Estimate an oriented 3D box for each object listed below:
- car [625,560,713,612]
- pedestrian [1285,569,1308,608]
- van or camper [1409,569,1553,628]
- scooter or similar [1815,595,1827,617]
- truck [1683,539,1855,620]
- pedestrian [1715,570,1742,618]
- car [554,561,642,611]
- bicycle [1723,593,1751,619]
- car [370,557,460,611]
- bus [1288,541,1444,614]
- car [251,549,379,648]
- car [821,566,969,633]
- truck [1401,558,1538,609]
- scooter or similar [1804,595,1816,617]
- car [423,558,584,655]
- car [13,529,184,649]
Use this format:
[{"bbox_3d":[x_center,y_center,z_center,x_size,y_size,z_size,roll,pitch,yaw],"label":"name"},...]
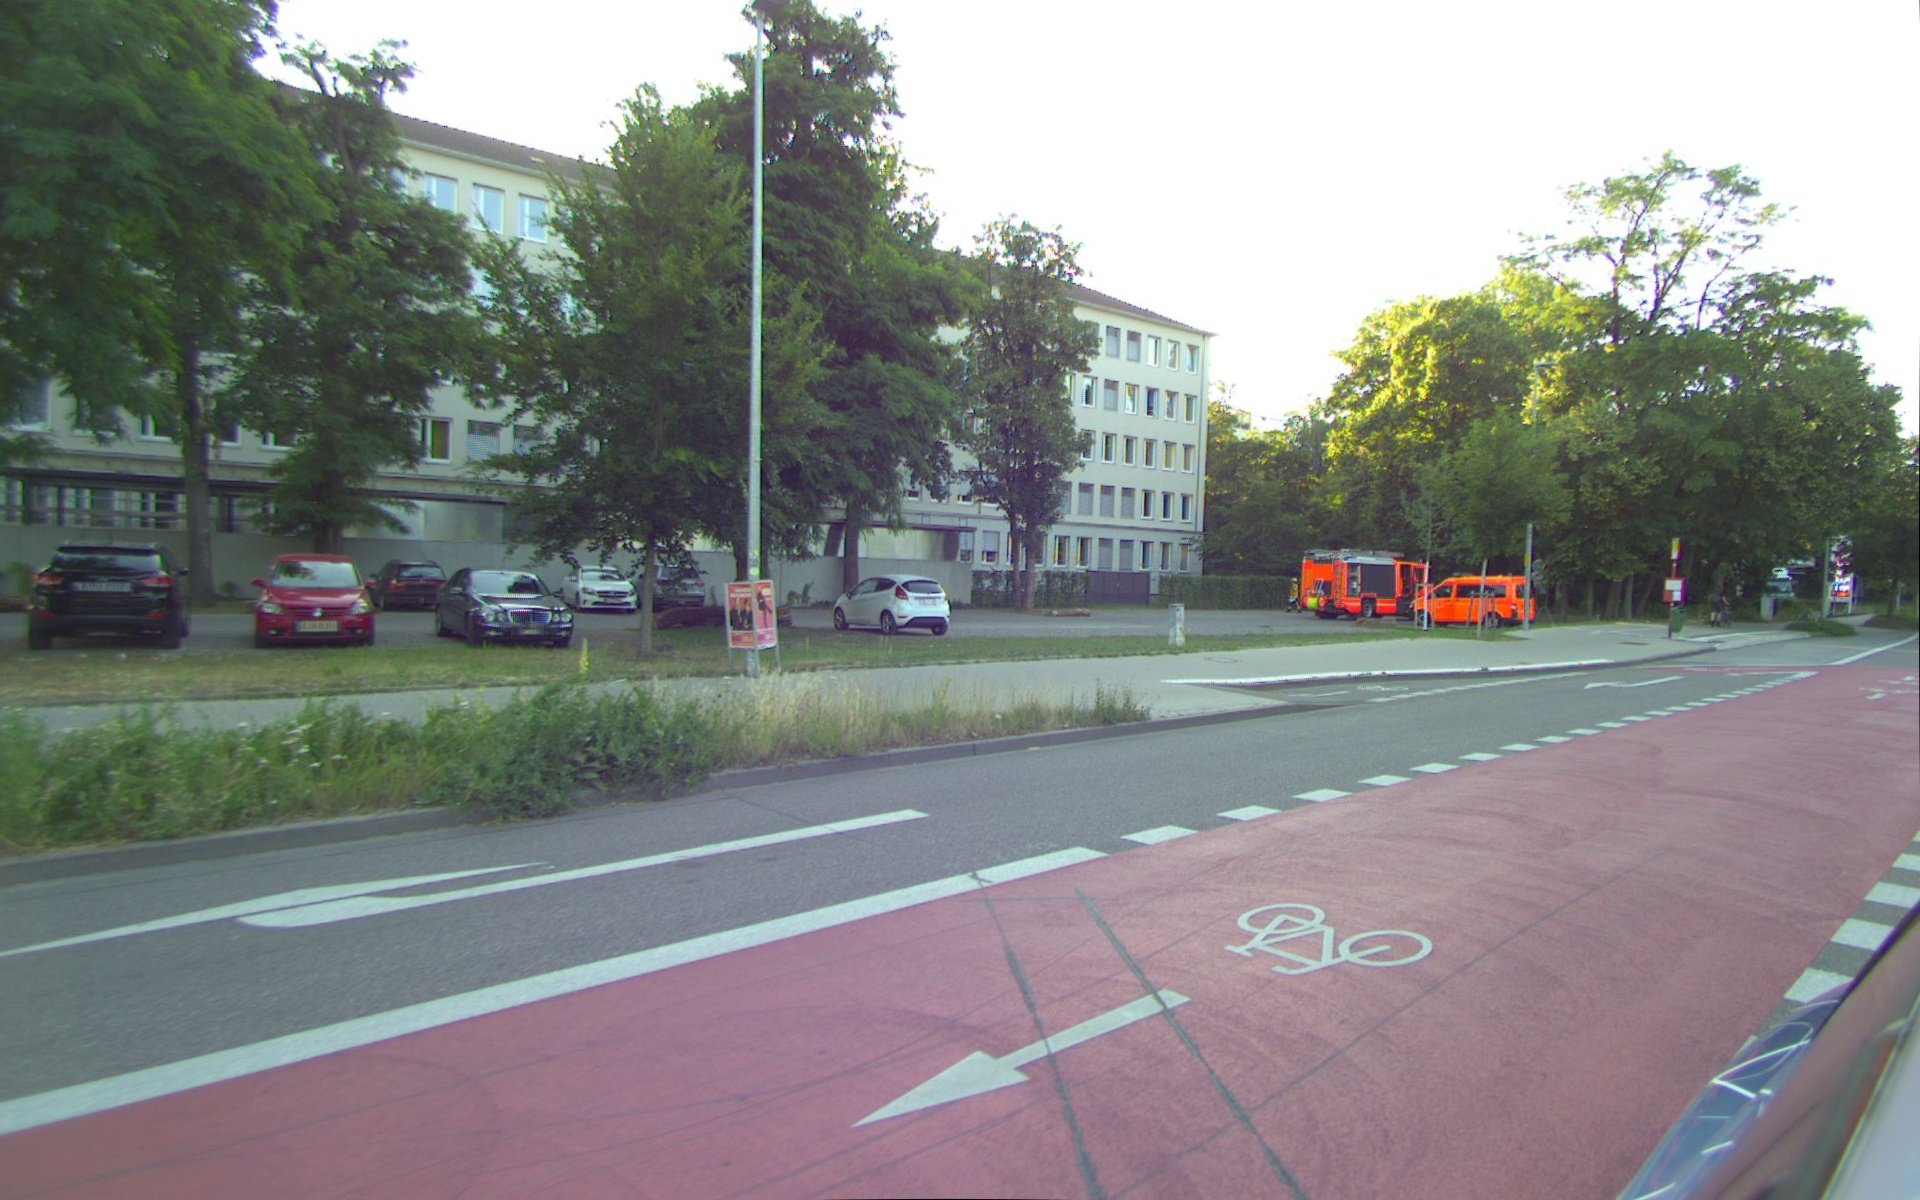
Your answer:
[{"bbox_3d":[-9.847,-0.507,34.101,1.875,1.637,4.003,0,1,-31],"label":"car"},{"bbox_3d":[17.984,-0.608,54.090,0.809,2.038,0.774,1,1,-32],"label":"pedestrian"},{"bbox_3d":[21.540,-0.112,42.059,2.250,2.273,4.832,0,1,-33],"label":"van or camper"},{"bbox_3d":[53.386,0.382,62.726,0.482,1.297,1.123,5,3,41],"label":"scooter or similar"},{"bbox_3d":[63.190,-1.675,79.869,5.089,5.642,15.007,2,2,16],"label":"truck"},{"bbox_3d":[33.375,-0.258,43.951,0.683,2.038,0.724,0,2,-43],"label":"pedestrian"},{"bbox_3d":[-11.641,-0.455,32.409,1.797,1.494,4.002,0,1,-33],"label":"car"},{"bbox_3d":[33.255,0.249,43.289,0.829,1.111,1.940,1,1,41],"label":"bicycle"},{"bbox_3d":[-15.967,-0.483,29.564,1.866,1.460,4.001,0,1,-35],"label":"car"},{"bbox_3d":[19.430,-1.026,48.236,7.810,3.236,2.999,0,1,-34],"label":"bus"},{"bbox_3d":[-11.645,-0.107,18.258,1.751,1.580,4.003,1,2,-33],"label":"car"},{"bbox_3d":[-1.716,-0.067,25.683,1.876,1.556,3.999,0,1,-37],"label":"car"},{"bbox_3d":[35.250,-1.245,70.433,2.703,3.250,8.683,1,2,-24],"label":"truck"},{"bbox_3d":[52.004,0.358,61.885,0.482,1.297,1.213,5,3,41],"label":"scooter or similar"},{"bbox_3d":[-8.973,0.016,19.684,1.866,1.466,4.584,-2,5,-37],"label":"car"},{"bbox_3d":[-13.932,-0.206,16.578,1.802,1.715,3.910,0,1,-36],"label":"car"}]
